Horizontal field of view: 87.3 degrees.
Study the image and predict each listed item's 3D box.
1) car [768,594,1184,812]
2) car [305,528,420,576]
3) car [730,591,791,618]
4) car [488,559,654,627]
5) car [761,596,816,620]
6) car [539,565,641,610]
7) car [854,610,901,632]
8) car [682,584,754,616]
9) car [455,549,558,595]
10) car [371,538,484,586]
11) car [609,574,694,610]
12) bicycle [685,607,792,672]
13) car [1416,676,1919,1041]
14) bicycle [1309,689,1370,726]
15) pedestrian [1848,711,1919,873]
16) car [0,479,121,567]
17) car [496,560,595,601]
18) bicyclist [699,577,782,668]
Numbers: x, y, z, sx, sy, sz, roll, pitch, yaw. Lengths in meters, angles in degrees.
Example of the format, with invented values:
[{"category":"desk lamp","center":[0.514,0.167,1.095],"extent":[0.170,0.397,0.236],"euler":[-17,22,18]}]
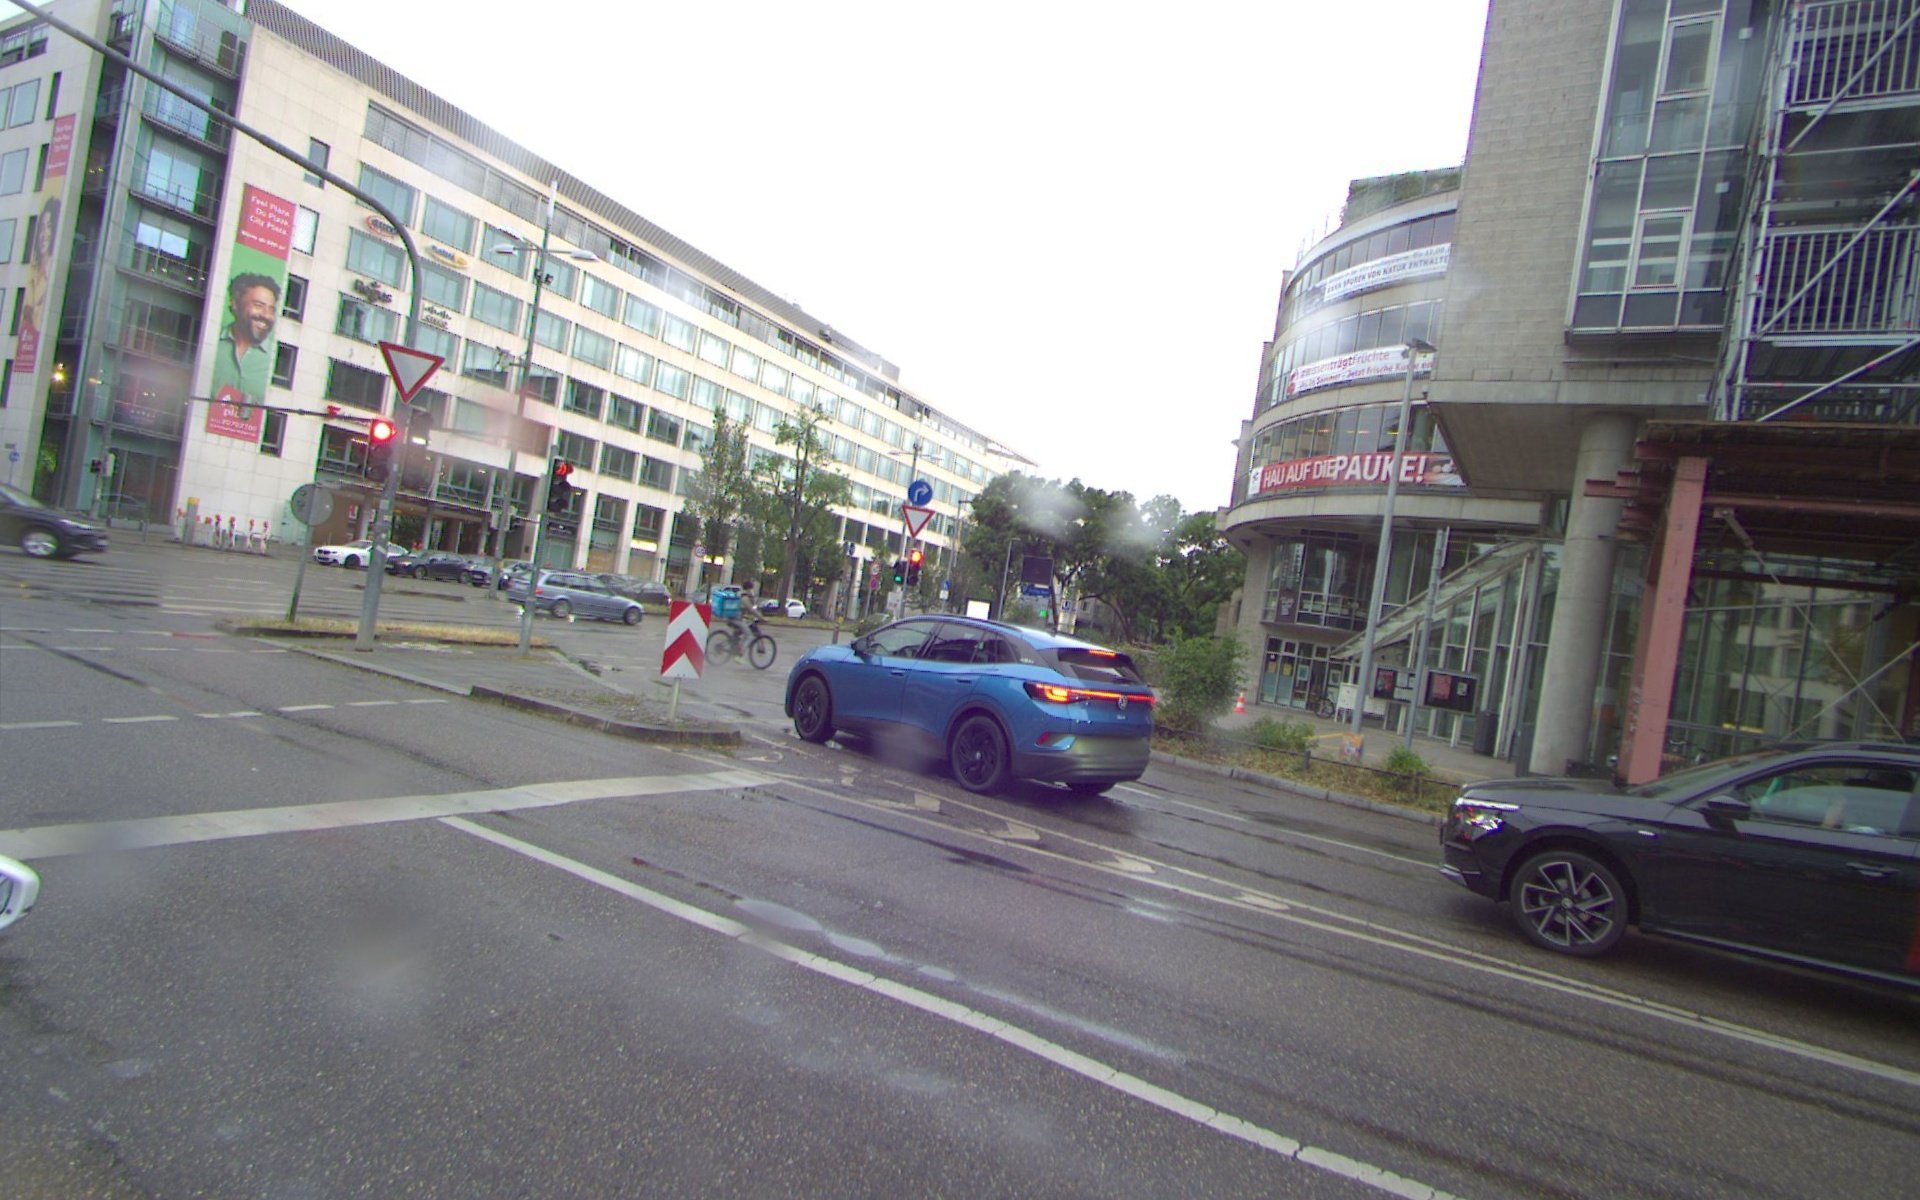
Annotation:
[{"category":"car","center":[-0.046,0.953,10.604],"extent":[1.699,1.547,4.373],"euler":[9,-2,-43]},{"category":"car","center":[-28.595,-2.248,48.333],"extent":[1.962,1.616,4.469],"euler":[7,-1,17]},{"category":"car","center":[-13.854,0.357,70.069],"extent":[1.891,1.364,4.653],"euler":[7,-2,21]},{"category":"car","center":[-12.194,-0.186,31.801],"extent":[1.968,1.504,4.454],"euler":[9,0,34]},{"category":"car","center":[-13.501,0.657,79.352],"extent":[1.892,1.364,4.650],"euler":[7,-2,24]},{"category":"car","center":[-16.492,-0.511,45.091],"extent":[1.690,1.481,4.468],"euler":[7,-2,19]},{"category":"car","center":[-7.105,1.833,86.962],"extent":[1.892,1.364,4.650],"euler":[7,-2,25]},{"category":"car","center":[-14.379,0.055,60.076],"extent":[1.891,1.364,4.654],"euler":[7,-2,19]},{"category":"car","center":[-21.860,-1.313,48.713],"extent":[1.962,1.616,4.469],"euler":[7,-1,17]},{"category":"car","center":[-25.189,-1.775,47.787],"extent":[1.963,1.616,4.468],"euler":[7,-2,20]},{"category":"car","center":[-16.595,-0.381,54.406],"extent":[1.891,1.364,4.654],"euler":[7,-2,19]},{"category":"bicycle","center":[-4.533,0.841,20.805],"extent":[0.834,1.116,2.150],"euler":[7,-1,29]},{"category":"car","center":[5.229,1.559,6.162],"extent":[4.080,1.558,1.780],"euler":[7,-1,34]},{"category":"bicycle","center":[13.432,3.807,35.619],"extent":[1.816,0.995,0.757],"euler":[8,-1,12]},{"category":"pedestrian","center":[11.828,2.382,12.425],"extent":[1.039,1.874,0.680],"euler":[7,0,35]},{"category":"car","center":[-22.042,-1.931,22.683],"extent":[4.313,1.675,1.957],"euler":[9,0,-26]},{"category":"car","center":[-19.183,-0.880,46.828],"extent":[1.690,1.364,4.469],"euler":[7,-2,17]},{"category":"bicyclist","center":[-4.507,0.482,20.759],"extent":[0.833,1.724,1.298],"euler":[7,-1,28]}]
